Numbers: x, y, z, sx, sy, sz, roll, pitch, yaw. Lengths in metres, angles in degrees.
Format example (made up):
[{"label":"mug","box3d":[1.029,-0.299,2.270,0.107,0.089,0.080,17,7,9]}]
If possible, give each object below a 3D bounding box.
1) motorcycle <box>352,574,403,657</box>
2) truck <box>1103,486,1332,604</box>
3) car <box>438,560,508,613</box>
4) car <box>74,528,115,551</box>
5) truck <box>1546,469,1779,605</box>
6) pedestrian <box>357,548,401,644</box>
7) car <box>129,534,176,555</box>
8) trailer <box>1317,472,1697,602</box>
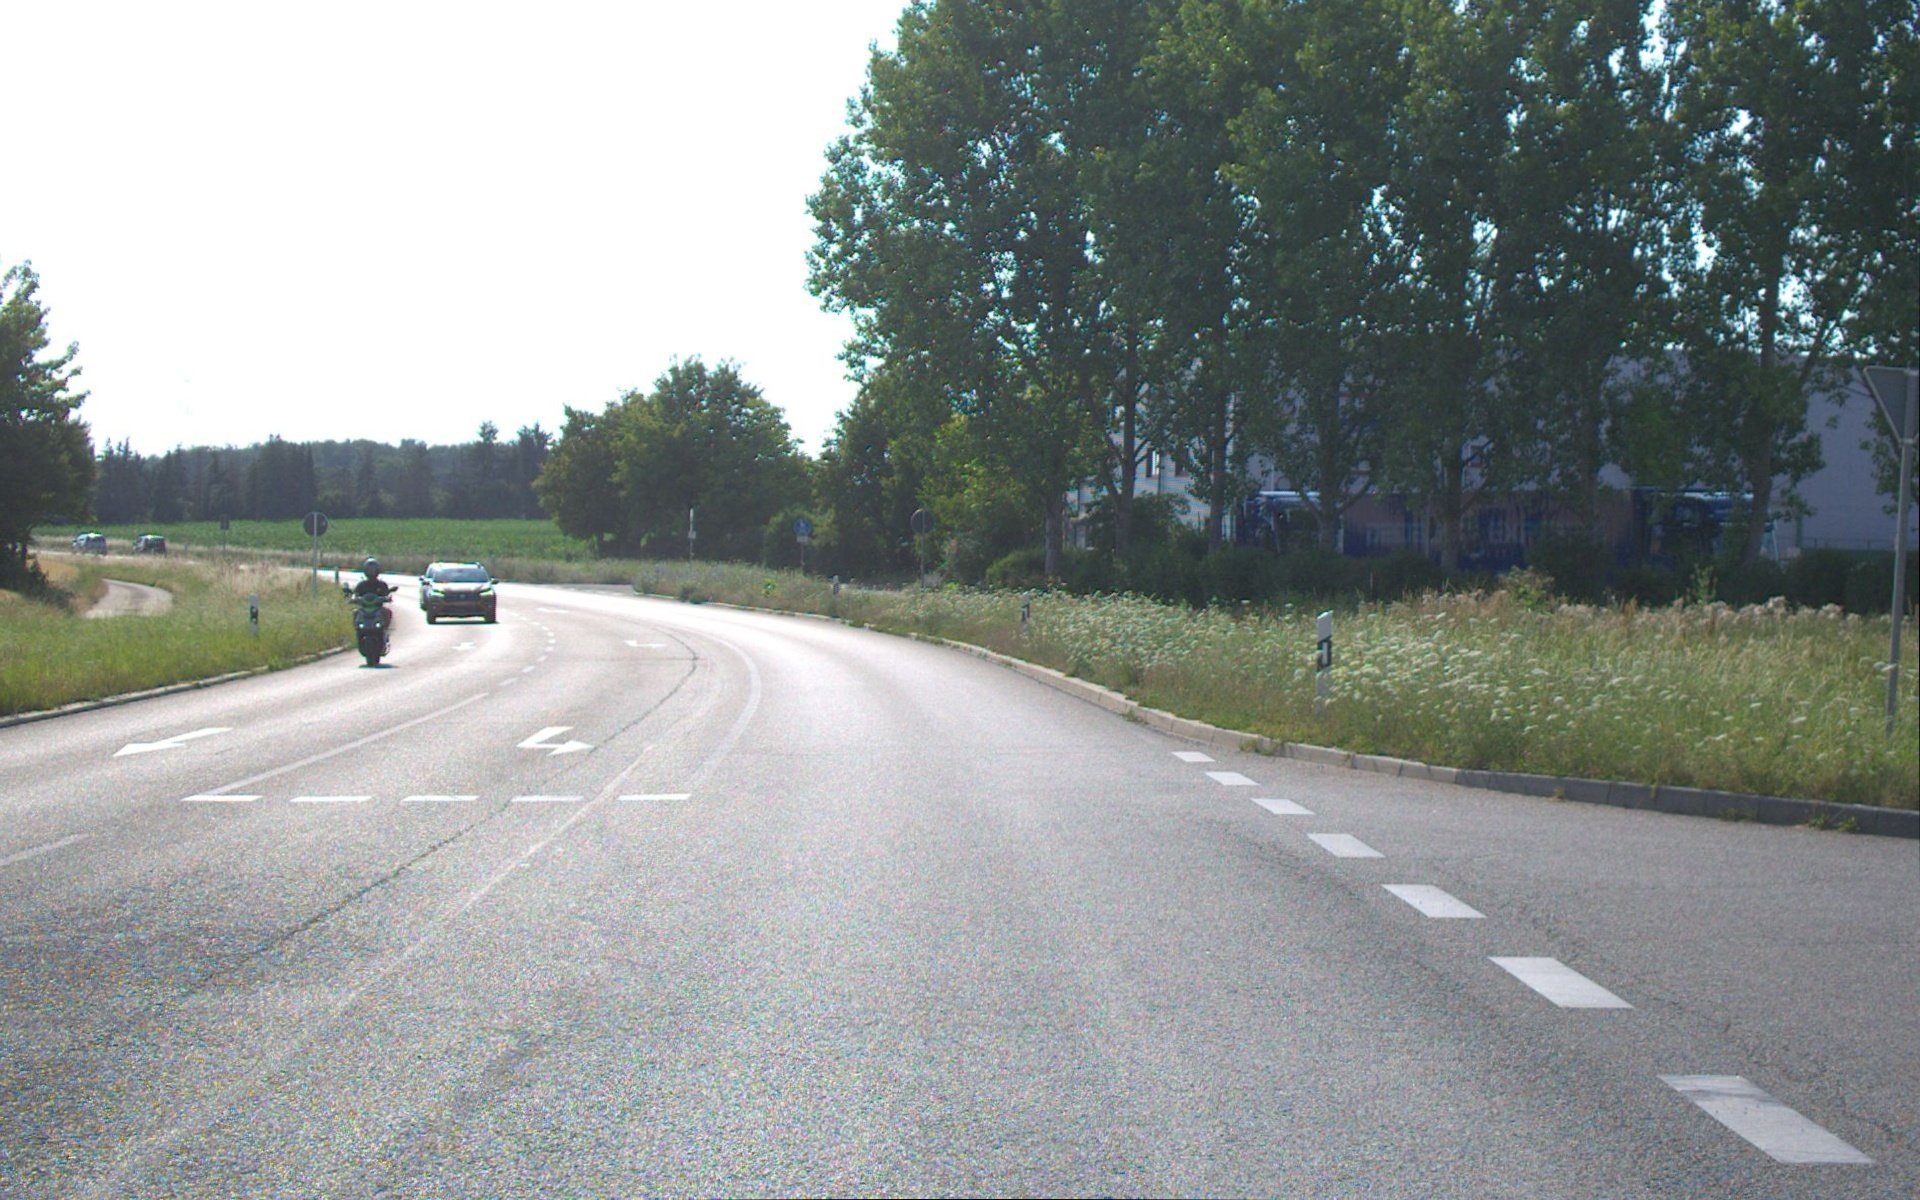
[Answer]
[{"label":"motorcycle","box3d":[-9.305,0.230,54.961,0.585,1.256,2.121,3,0,-5]},{"label":"truck","box3d":[7.907,-1.752,107.341,2.511,3.365,9.687,4,-1,-25]},{"label":"car","box3d":[-12.730,-0.371,89.974,1.684,1.344,4.001,1,1,-6]},{"label":"car","box3d":[-58.335,-4.103,231.658,1.850,1.403,3.645,4,-1,-26]},{"label":"truck","box3d":[17.753,-1.557,87.138,2.620,3.151,5.710,4,-2,-28]},{"label":"pedestrian","box3d":[-9.288,-0.066,54.994,0.565,1.500,0.865,3,0,-5]},{"label":"car","box3d":[-50.736,-3.482,216.010,1.967,1.147,3.868,4,-1,-26]},{"label":"trailer","box3d":[14.567,-1.588,93.335,2.683,3.131,13.272,4,-2,-27]}]
